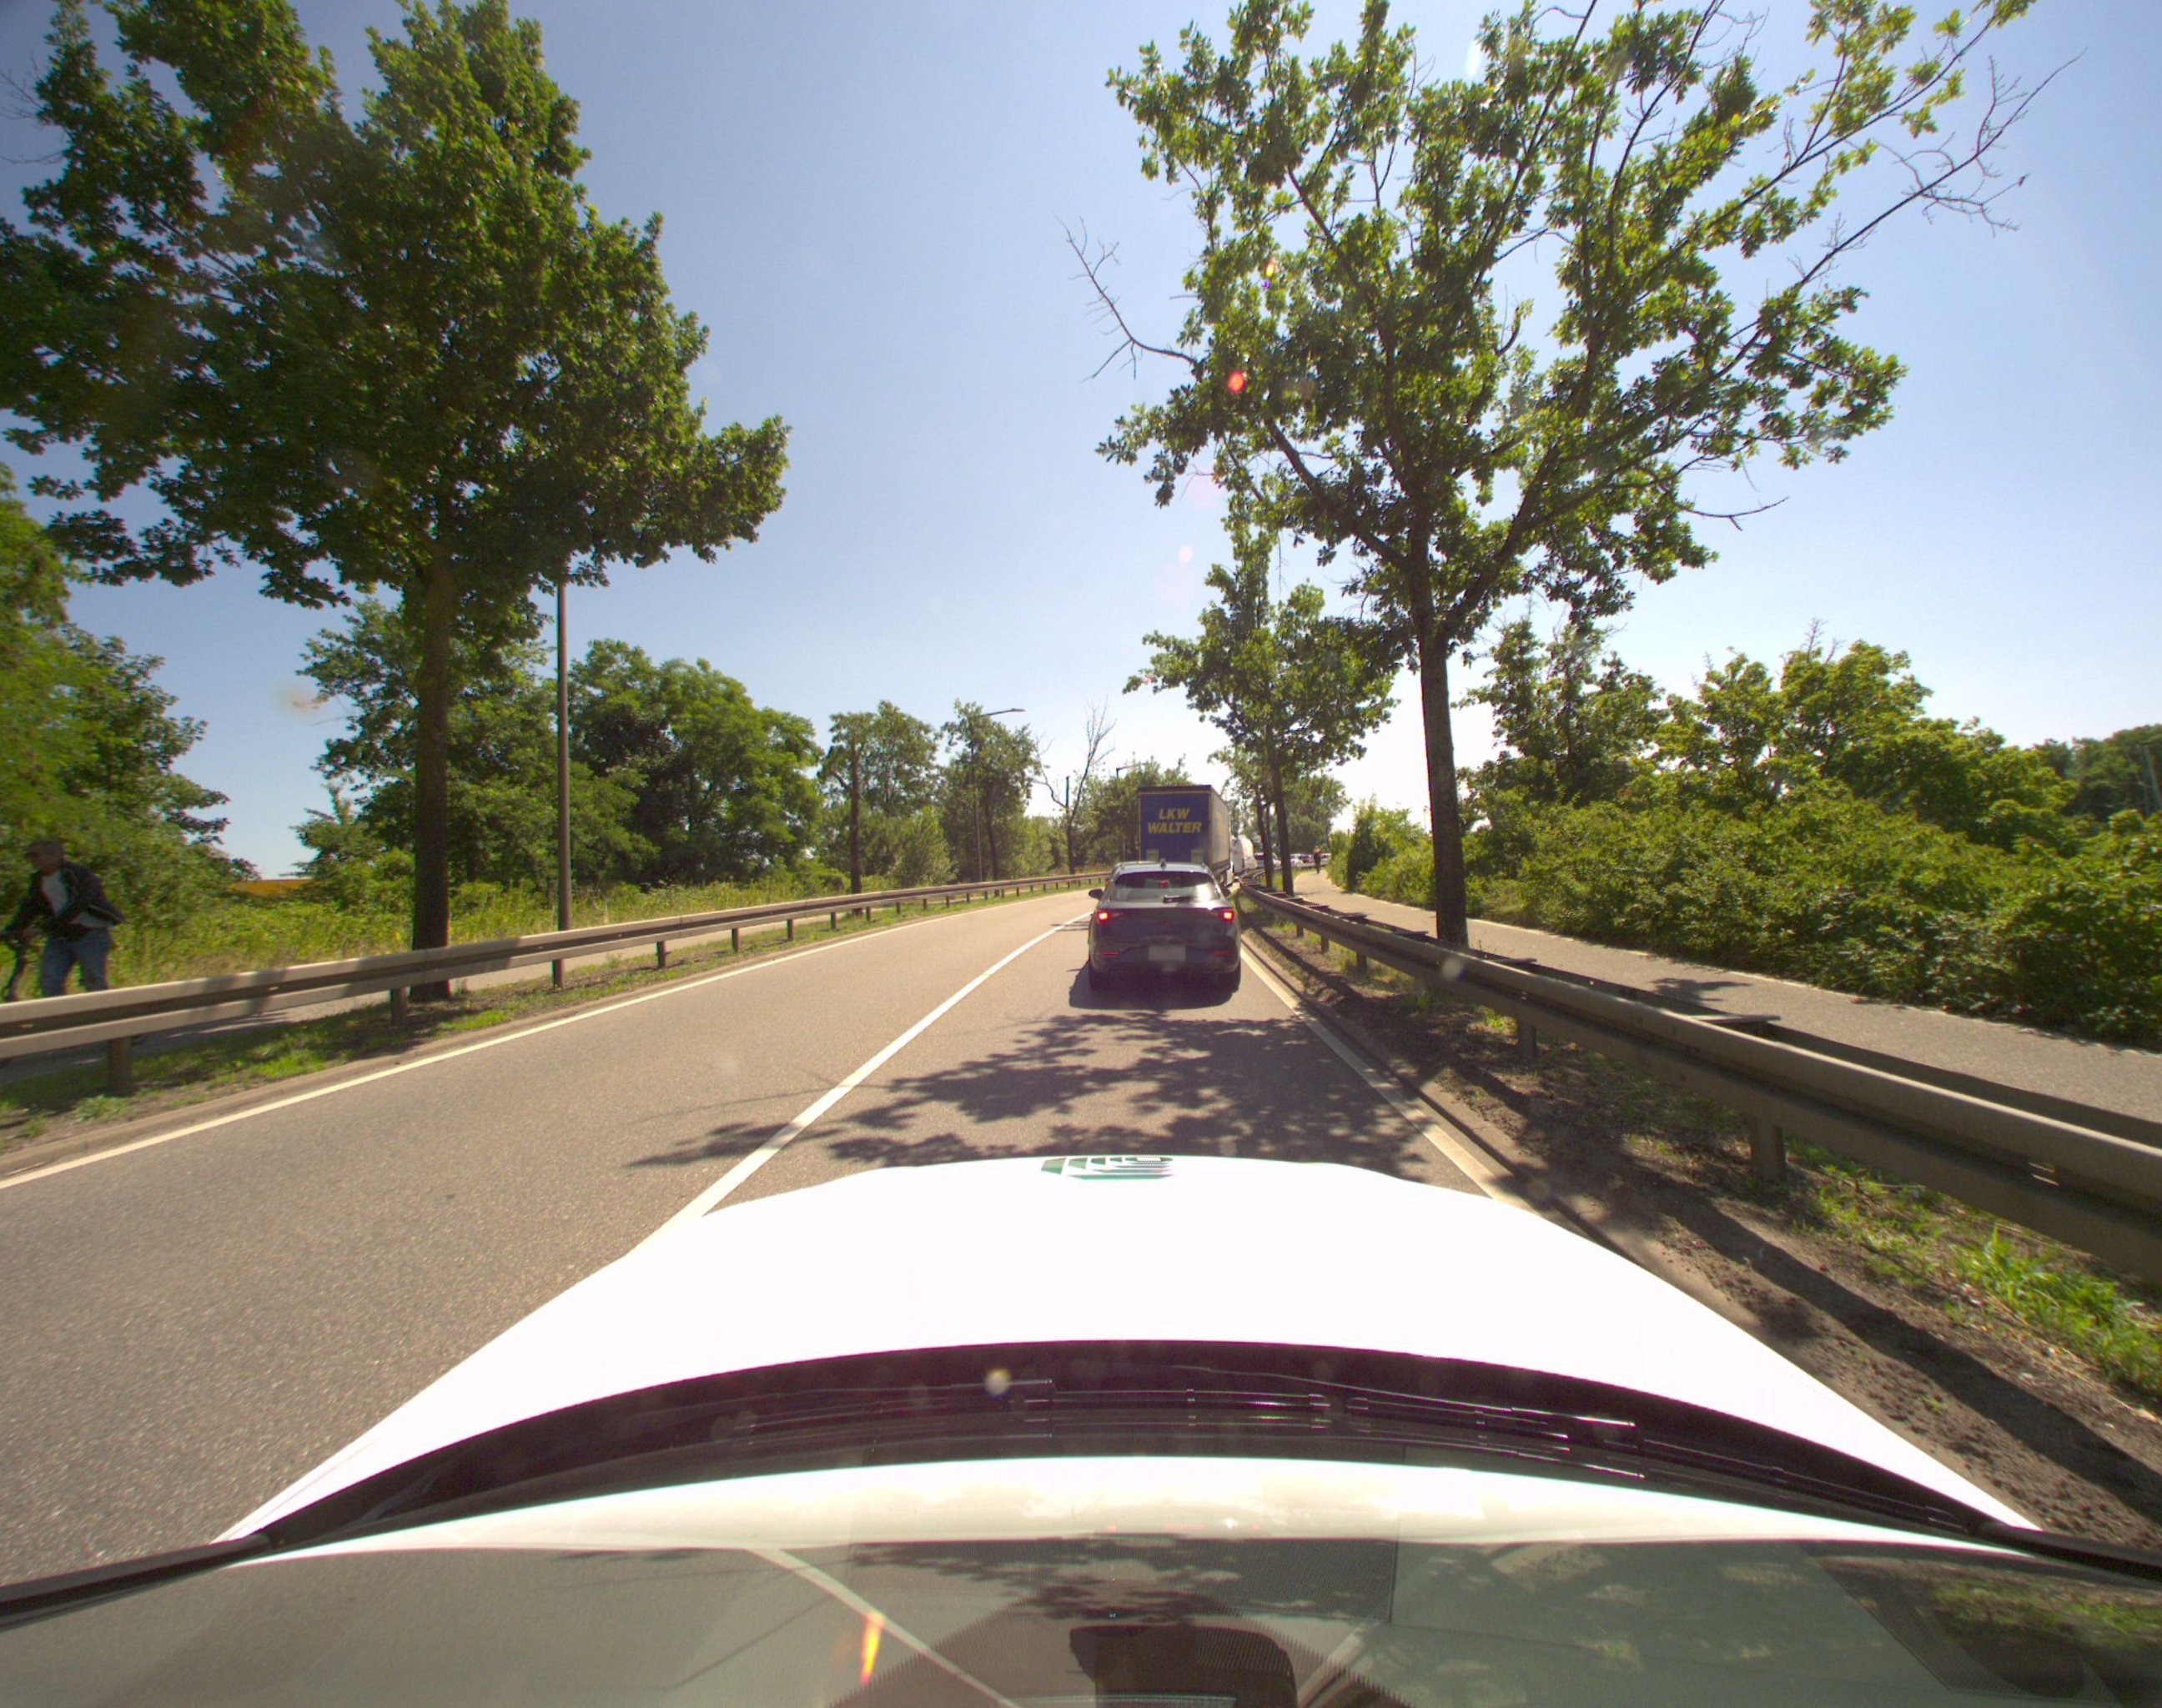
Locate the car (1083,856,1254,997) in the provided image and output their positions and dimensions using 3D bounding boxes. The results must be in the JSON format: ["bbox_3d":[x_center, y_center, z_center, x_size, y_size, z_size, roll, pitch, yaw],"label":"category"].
[{"bbox_3d":[0.957,0.769,10.337,1.738,1.432,3.881,-1,-1,2],"label":"car"}]

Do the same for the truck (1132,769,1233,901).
[{"bbox_3d":[4.987,-0.588,36.010,2.930,4.449,16.853,-1,-1,12],"label":"truck"}]

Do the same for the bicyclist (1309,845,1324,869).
[{"bbox_3d":[15.159,0.199,52.458,0.854,1.523,0.984,-1,-1,14],"label":"bicyclist"}]

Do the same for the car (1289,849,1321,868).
[{"bbox_3d":[20.961,0.428,75.980,1.975,1.717,4.897,-1,-1,26],"label":"car"}]

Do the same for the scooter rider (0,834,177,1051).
[{"bbox_3d":[-8.581,0.684,6.803,0.773,1.657,1.122,-1,-1,6],"label":"scooter rider"}]

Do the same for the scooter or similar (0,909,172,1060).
[{"bbox_3d":[-8.591,1.037,6.785,0.773,1.091,1.097,-1,-1,6],"label":"scooter or similar"}]

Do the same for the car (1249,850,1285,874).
[{"bbox_3d":[14.039,0.577,61.347,1.976,1.712,4.644,-1,-1,21],"label":"car"}]

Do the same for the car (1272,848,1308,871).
[{"bbox_3d":[17.691,0.461,68.794,1.975,1.808,4.874,-1,-1,26],"label":"car"}]

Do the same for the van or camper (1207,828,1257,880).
[{"bbox_3d":[9.547,0.031,51.141,2.447,2.998,6.112,-1,-1,16],"label":"van or camper"}]

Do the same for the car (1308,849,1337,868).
[{"bbox_3d":[24.378,0.442,82.116,1.975,1.768,4.783,-1,-1,28],"label":"car"}]

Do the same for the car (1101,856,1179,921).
[{"bbox_3d":[1.578,0.818,20.907,1.800,1.508,4.007,-1,-1,6],"label":"car"}]

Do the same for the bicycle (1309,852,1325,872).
[{"bbox_3d":[15.204,0.524,52.513,0.854,1.237,2.318,-1,-1,14],"label":"bicycle"}]
